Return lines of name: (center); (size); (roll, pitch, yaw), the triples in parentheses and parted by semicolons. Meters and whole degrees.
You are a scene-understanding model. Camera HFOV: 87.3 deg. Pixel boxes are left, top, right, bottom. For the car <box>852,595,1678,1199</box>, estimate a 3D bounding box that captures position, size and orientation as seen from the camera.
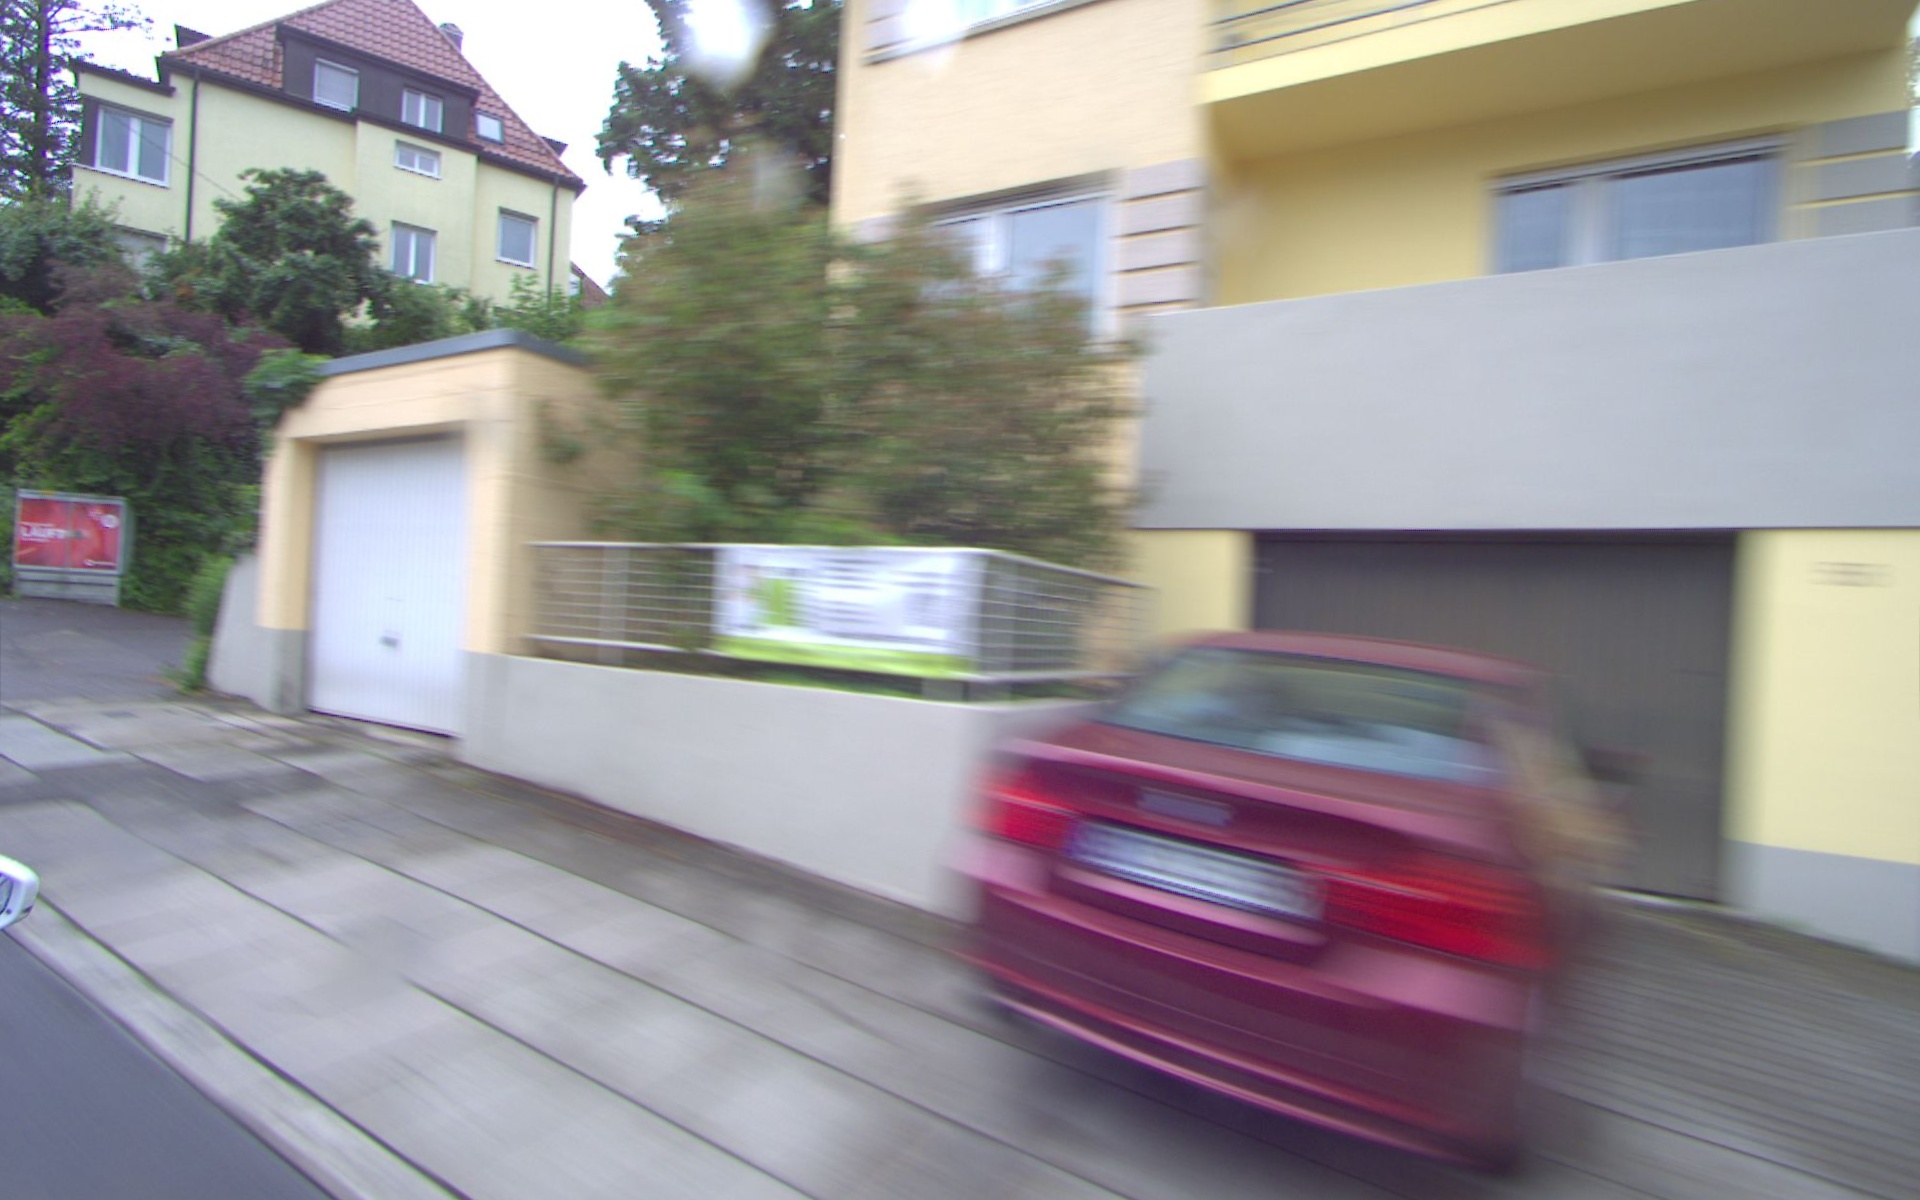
car: (1.657, 0.855, 4.082); (1.805, 1.425, 4.168); (7, 2, 34)
